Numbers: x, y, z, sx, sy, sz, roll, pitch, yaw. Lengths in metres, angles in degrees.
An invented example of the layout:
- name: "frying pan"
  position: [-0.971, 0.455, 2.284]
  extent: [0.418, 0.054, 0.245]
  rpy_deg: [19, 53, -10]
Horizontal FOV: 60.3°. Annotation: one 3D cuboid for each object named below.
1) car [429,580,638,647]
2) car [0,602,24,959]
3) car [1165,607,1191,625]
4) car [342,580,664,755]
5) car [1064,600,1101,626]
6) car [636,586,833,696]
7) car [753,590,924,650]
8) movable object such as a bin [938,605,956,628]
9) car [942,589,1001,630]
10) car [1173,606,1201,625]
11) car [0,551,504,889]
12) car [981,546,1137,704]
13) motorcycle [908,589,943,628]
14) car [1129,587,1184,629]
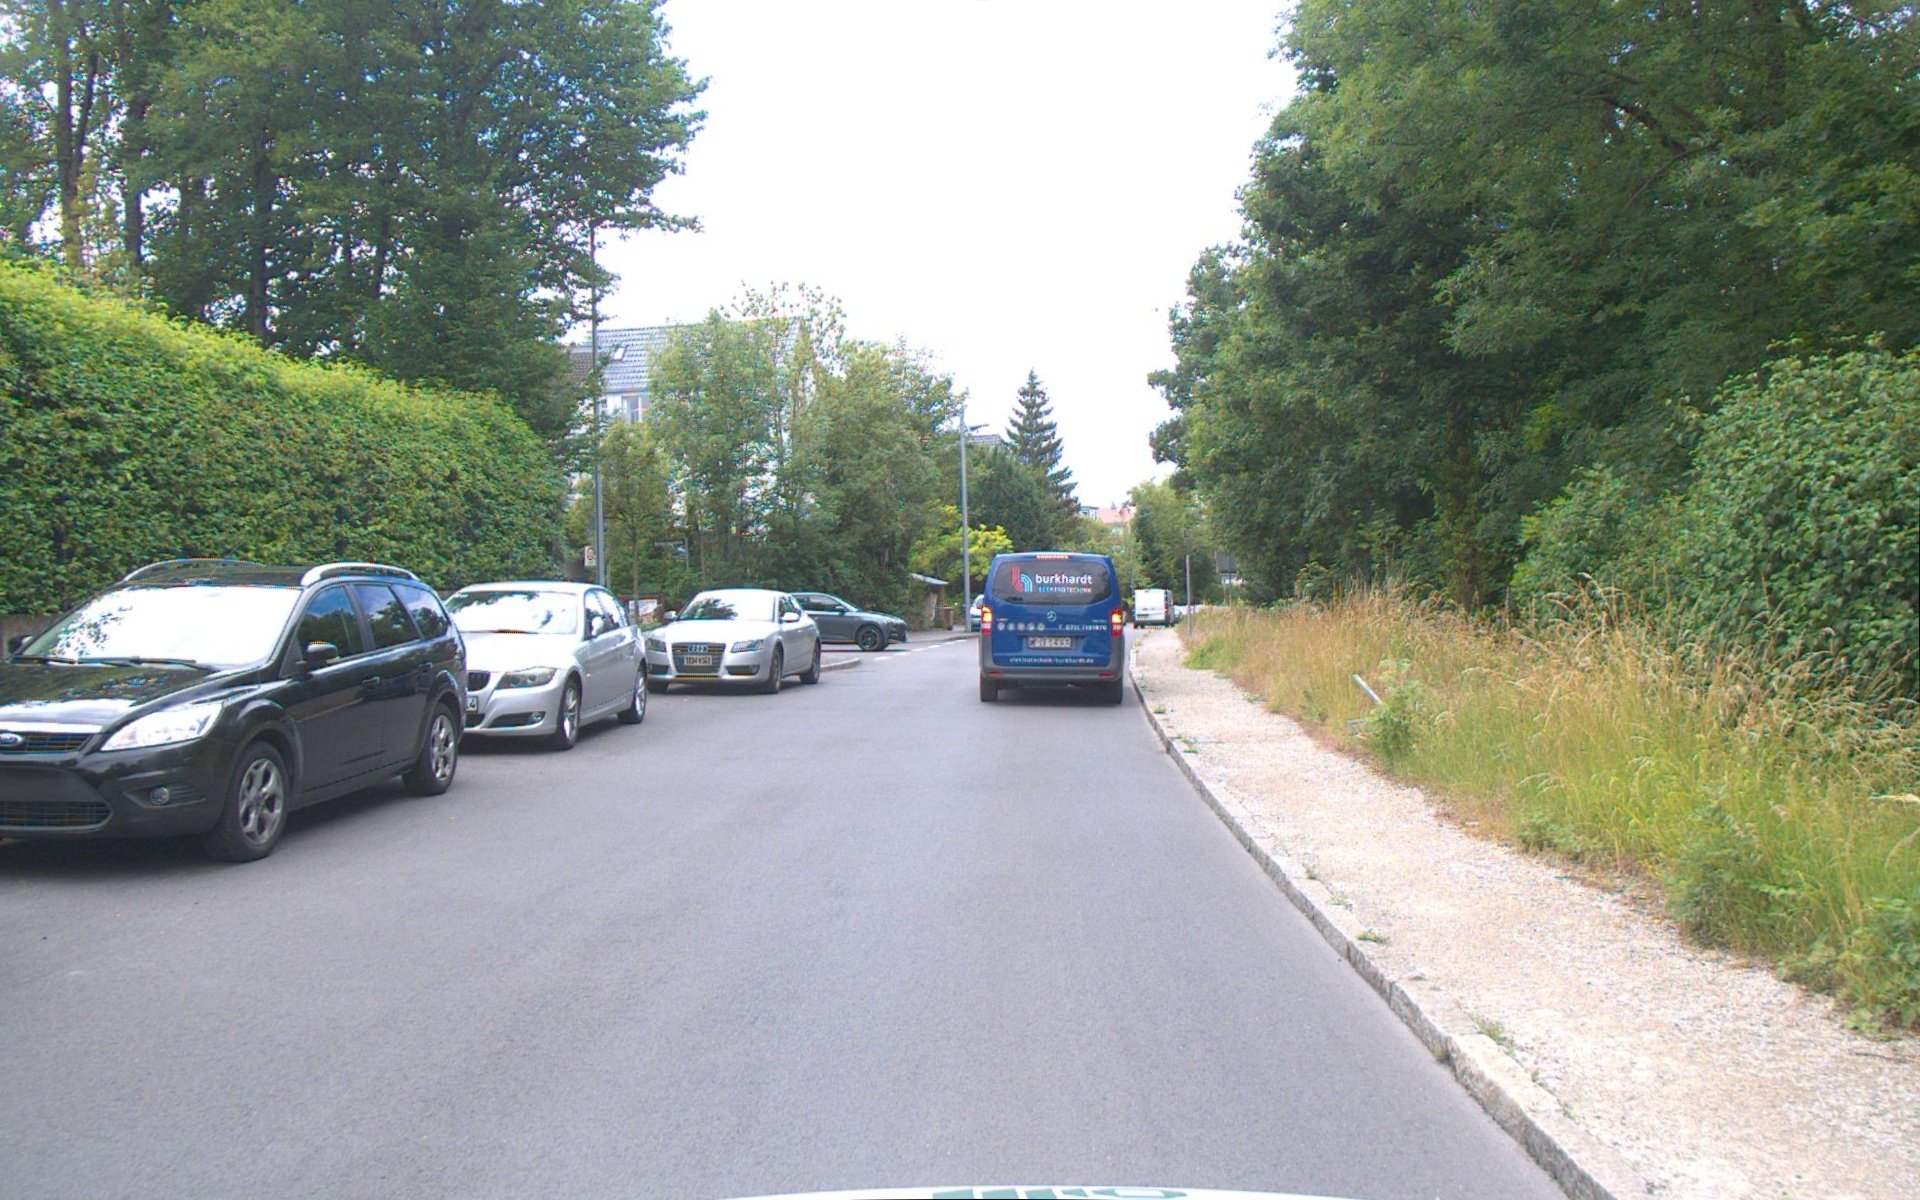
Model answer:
- name: "car"
  position: [-11.011, 0.348, 42.922]
  extent: [4.830, 1.699, 2.039]
  rpy_deg: [0, 0, 7]
- name: "car"
  position: [-4.476, 0.698, 4.393]
  extent: [1.676, 1.364, 4.107]
  rpy_deg: [1, 0, -1]
- name: "car"
  position: [17.820, 1.278, 135.079]
  extent: [1.712, 1.429, 4.003]
  rpy_deg: [0, 0, 14]
- name: "car"
  position: [-4.076, 0.528, 15.518]
  extent: [1.738, 1.398, 4.341]
  rpy_deg: [1, 0, 1]
- name: "car"
  position: [6.866, 0.718, 92.215]
  extent: [1.711, 1.429, 4.003]
  rpy_deg: [0, 0, 9]
- name: "car"
  position: [-3.093, 0.512, 23.607]
  extent: [1.792, 1.398, 4.448]
  rpy_deg: [1, 0, 6]
- name: "car"
  position: [-3.034, 0.497, 41.860]
  extent: [4.078, 1.472, 1.741]
  rpy_deg: [0, 0, 5]
- name: "movable object such as a bin"
  position: [-0.526, 0.656, 67.000]
  extent: [0.578, 0.925, 0.701]
  rpy_deg: [0, 0, 15]
- name: "car"
  position: [0.470, 0.342, 62.398]
  extent: [1.669, 1.493, 4.079]
  rpy_deg: [0, 0, 8]
- name: "car"
  position: [17.599, 1.214, 128.024]
  extent: [1.712, 1.429, 4.003]
  rpy_deg: [0, 0, 14]
- name: "car"
  position: [-4.286, 0.535, 9.955]
  extent: [1.622, 1.560, 4.476]
  rpy_deg: [1, 0, 3]
- name: "car"
  position: [1.337, 0.305, 22.430]
  extent: [1.896, 1.913, 4.532]
  rpy_deg: [0, 0, 3]
- name: "motorcycle"
  position: [-1.342, 0.341, 65.006]
  extent: [0.792, 1.511, 2.898]
  rpy_deg: [0, 0, 10]
- name: "car"
  position: [10.201, 0.409, 85.558]
  extent: [2.159, 2.100, 6.140]
  rpy_deg: [0, 0, 13]
